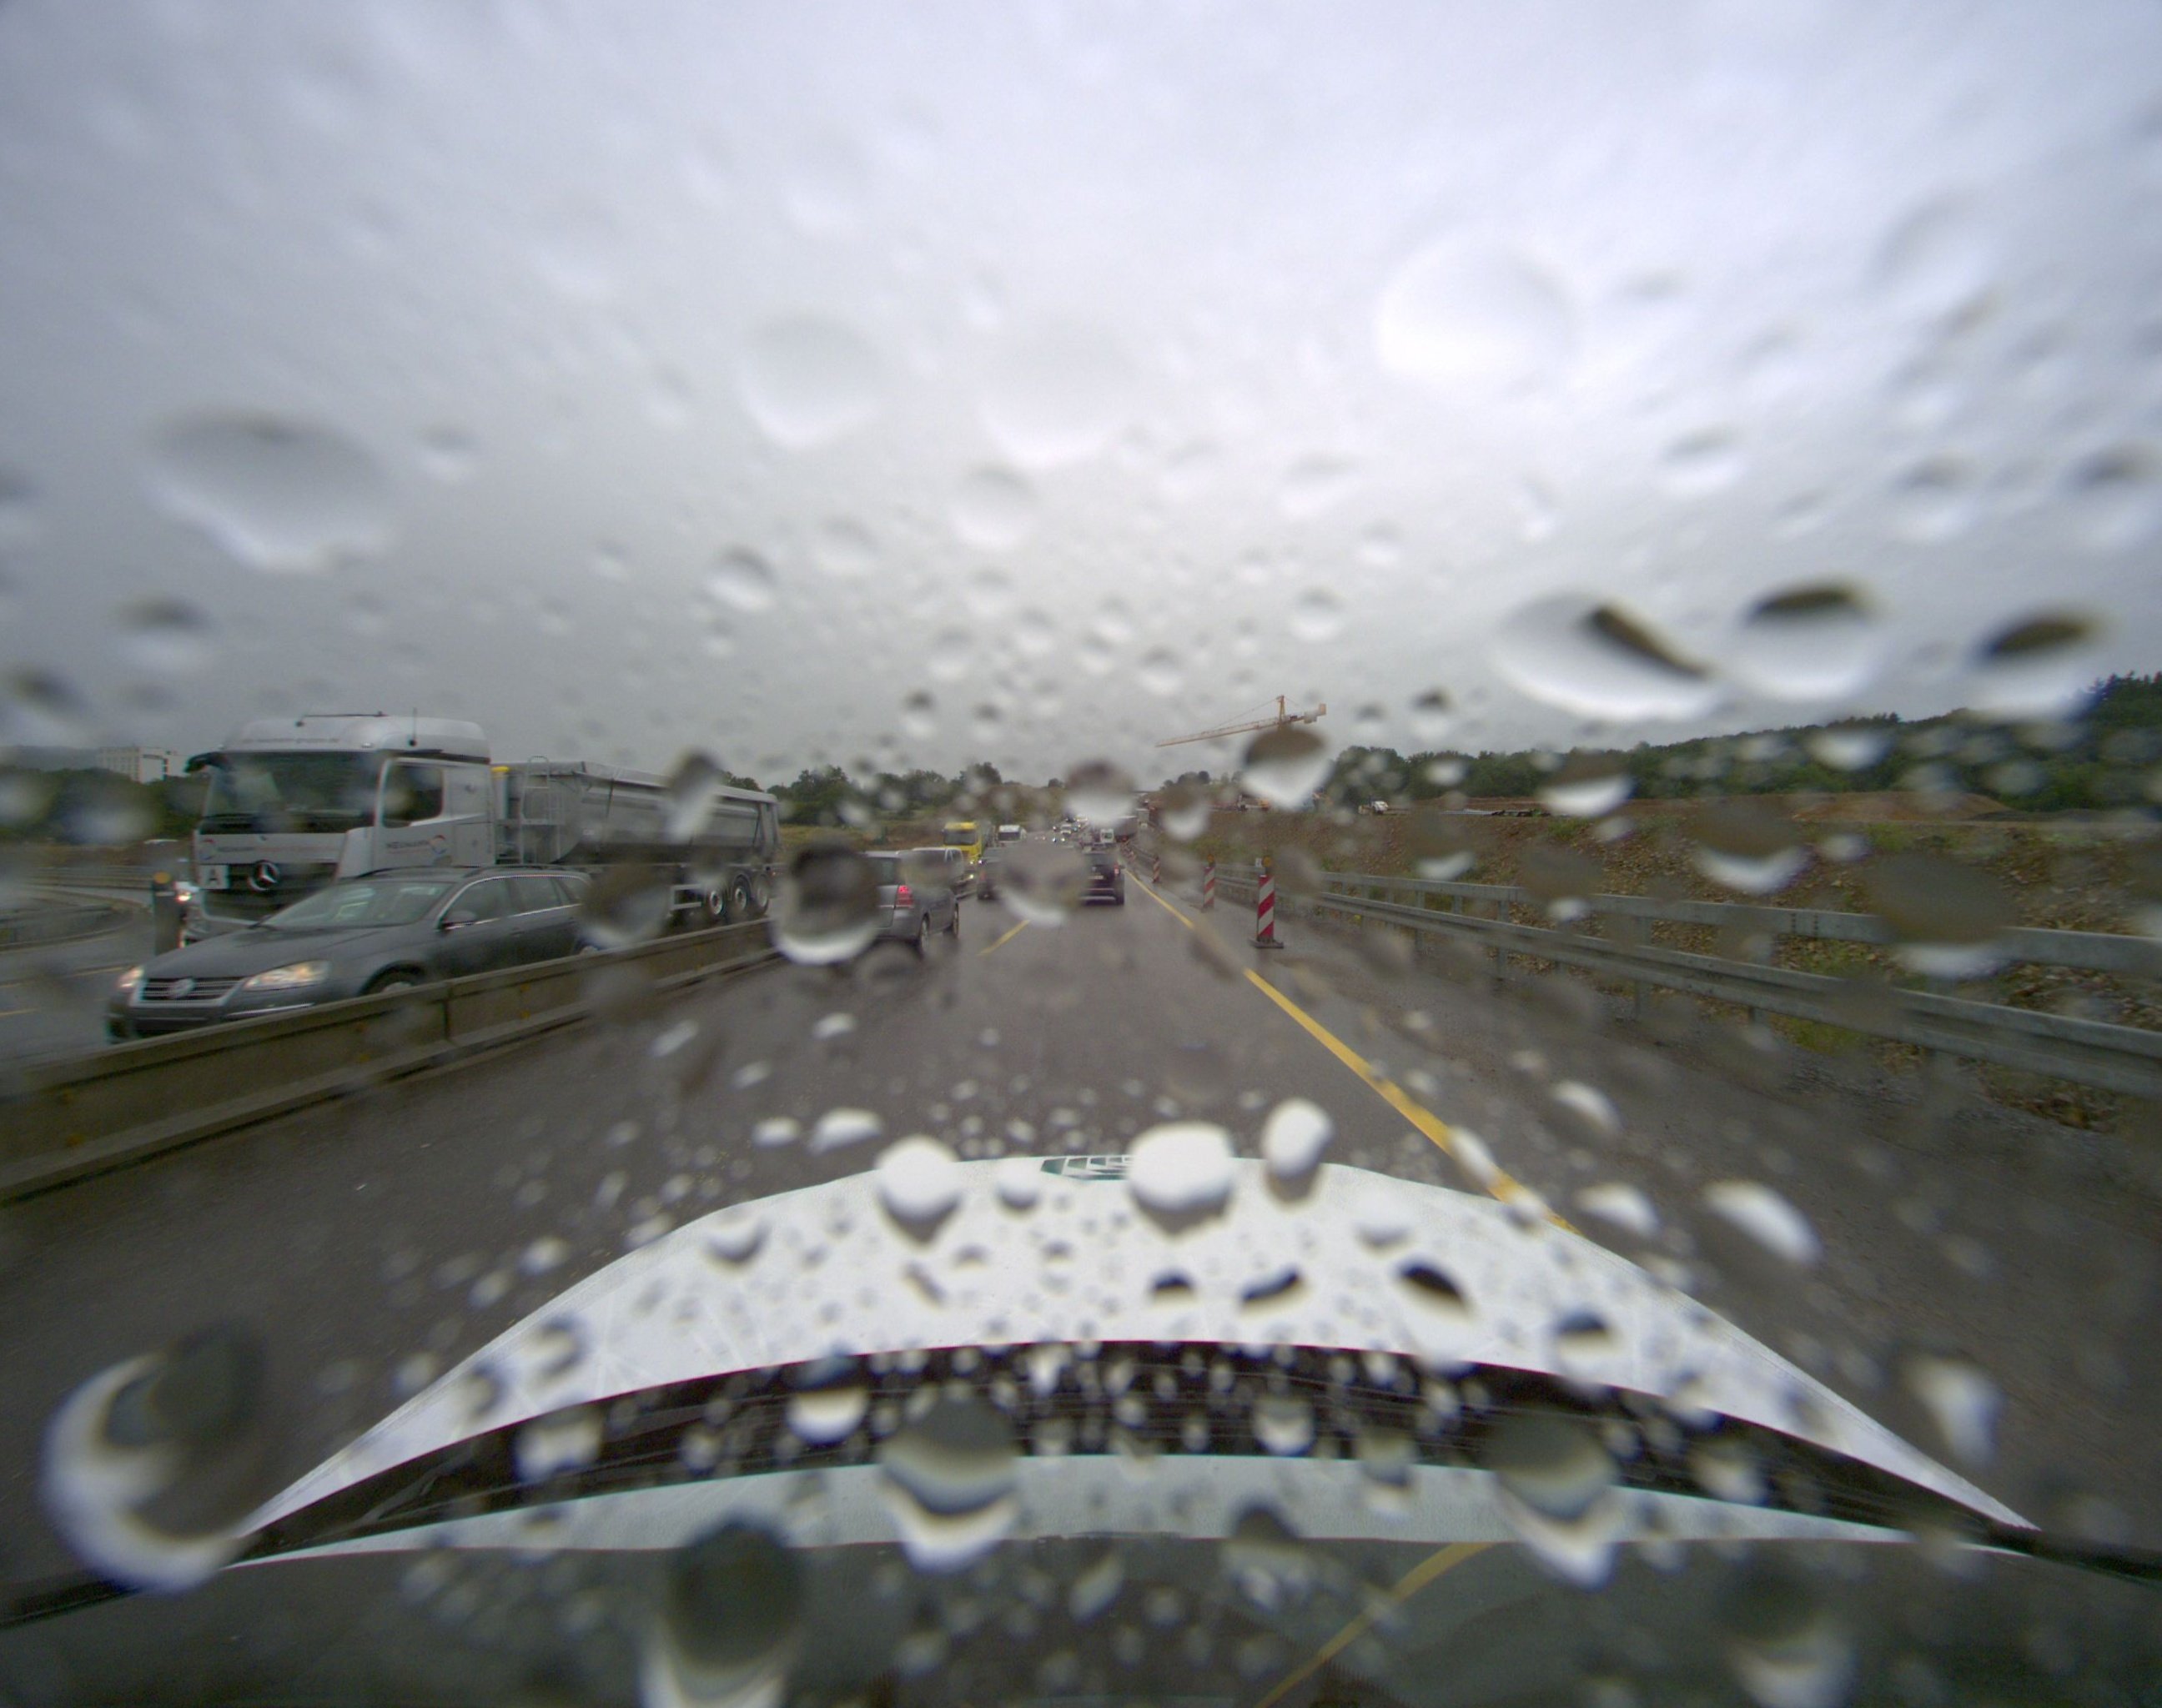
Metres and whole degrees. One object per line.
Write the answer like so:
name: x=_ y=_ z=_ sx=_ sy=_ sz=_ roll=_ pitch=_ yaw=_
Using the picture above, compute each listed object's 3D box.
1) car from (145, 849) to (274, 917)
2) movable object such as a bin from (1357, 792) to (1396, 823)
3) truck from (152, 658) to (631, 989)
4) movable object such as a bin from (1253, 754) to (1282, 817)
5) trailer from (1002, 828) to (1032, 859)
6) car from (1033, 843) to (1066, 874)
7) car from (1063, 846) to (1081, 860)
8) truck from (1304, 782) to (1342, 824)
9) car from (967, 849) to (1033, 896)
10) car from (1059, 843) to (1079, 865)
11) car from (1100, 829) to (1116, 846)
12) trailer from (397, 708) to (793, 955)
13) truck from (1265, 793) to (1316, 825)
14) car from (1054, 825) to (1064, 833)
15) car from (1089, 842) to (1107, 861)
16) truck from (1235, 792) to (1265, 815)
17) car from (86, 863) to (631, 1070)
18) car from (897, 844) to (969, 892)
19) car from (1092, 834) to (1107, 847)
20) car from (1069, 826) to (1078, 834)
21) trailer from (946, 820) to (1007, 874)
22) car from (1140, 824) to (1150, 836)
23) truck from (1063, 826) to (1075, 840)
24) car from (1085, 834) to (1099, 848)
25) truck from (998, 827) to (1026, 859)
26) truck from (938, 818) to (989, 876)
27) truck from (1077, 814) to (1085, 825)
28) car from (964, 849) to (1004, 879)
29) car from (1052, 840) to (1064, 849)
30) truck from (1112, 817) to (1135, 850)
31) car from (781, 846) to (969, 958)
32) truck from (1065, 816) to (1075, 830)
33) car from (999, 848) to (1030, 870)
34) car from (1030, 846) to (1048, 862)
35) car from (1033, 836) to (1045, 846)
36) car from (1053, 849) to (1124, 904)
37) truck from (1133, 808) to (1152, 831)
car: x=-28.412 y=0.862 z=26.499 sx=4.980 sy=2.013 sz=2.287 roll=0 pitch=0 yaw=36
movable object such as a bin: x=37.263 y=-5.812 z=102.861 sx=2.334 sy=3.599 sz=6.556 roll=0 pitch=0 yaw=-2
truck: x=-9.806 y=-0.379 z=12.501 sx=2.676 sy=3.927 sz=5.275 roll=-2 pitch=0 yaw=1
movable object such as a bin: x=35.077 y=-12.643 z=152.498 sx=4.683 sy=10.841 sz=10.347 roll=0 pitch=0 yaw=16
trailer: x=-7.945 y=-1.251 z=101.907 sx=2.611 sy=3.677 sz=12.005 roll=0 pitch=0 yaw=1
car: x=-2.098 y=0.297 z=54.527 sx=1.987 sy=2.013 sz=3.894 roll=0 pitch=0 yaw=0
car: x=-1.125 y=-0.100 z=103.991 sx=1.986 sy=1.761 sz=3.817 roll=0 pitch=0 yaw=2
truck: x=25.846 y=-5.395 z=87.380 sx=2.365 sy=4.218 sz=5.980 roll=0 pitch=0 yaw=1
car: x=-2.884 y=0.613 z=29.756 sx=1.987 sy=1.600 sz=4.140 roll=0 pitch=0 yaw=0
car: x=-1.274 y=0.003 z=82.712 sx=1.988 sy=2.162 sz=4.137 roll=0 pitch=0 yaw=-2
car: x=3.956 y=-2.415 z=119.502 sx=1.984 sy=2.484 sz=4.989 roll=0 pitch=0 yaw=5
trailer: x=-9.669 y=-0.389 z=18.204 sx=2.676 sy=3.963 sz=9.822 roll=-2 pitch=0 yaw=1
truck: x=21.507 y=-4.547 z=84.070 sx=3.381 sy=2.875 sz=8.966 roll=0 pitch=0 yaw=3
car: x=-4.805 y=-5.496 z=178.827 sx=1.780 sy=1.538 sz=4.313 roll=-1 pitch=1 yaw=1
car: x=2.047 y=-0.263 z=95.510 sx=1.986 sy=2.162 sz=4.143 roll=0 pitch=0 yaw=2
truck: x=21.841 y=-6.457 z=105.554 sx=2.636 sy=2.554 sz=6.985 roll=0 pitch=0 yaw=1
car: x=-6.426 y=0.851 z=7.991 sx=1.703 sy=1.453 sz=4.001 roll=0 pitch=0 yaw=1
car: x=-5.978 y=0.529 z=33.620 sx=1.868 sy=1.792 sz=5.361 roll=-1 pitch=0 yaw=1
car: x=3.197 y=-2.275 z=139.337 sx=1.981 sy=2.162 sz=4.152 roll=0 pitch=0 yaw=10
car: x=-1.649 y=-5.149 z=175.338 sx=1.780 sy=1.538 sz=4.313 roll=-1 pitch=1 yaw=1
trailer: x=-8.484 y=-0.538 z=68.535 sx=2.739 sy=4.042 sz=15.364 roll=0 pitch=0 yaw=1
car: x=13.554 y=-5.110 z=172.396 sx=1.986 sy=2.484 sz=4.744 roll=0 pitch=0 yaw=2
truck: x=-2.333 y=-3.952 z=156.140 sx=2.071 sy=2.576 sz=5.963 roll=0 pitch=0 yaw=1
car: x=1.753 y=-2.002 z=128.256 sx=1.985 sy=2.162 sz=4.144 roll=0 pitch=0 yaw=3
truck: x=-8.042 y=-1.249 z=96.089 sx=2.611 sy=3.677 sz=6.596 roll=0 pitch=0 yaw=1
truck: x=-8.698 y=-0.513 z=60.922 sx=2.739 sy=4.062 sz=6.150 roll=0 pitch=0 yaw=1
truck: x=0.053 y=-8.822 z=210.465 sx=2.140 sy=2.713 sz=6.017 roll=0 pitch=2 yaw=1
car: x=-6.094 y=0.593 z=51.845 sx=1.781 sy=1.805 sz=5.191 roll=-2 pitch=0 yaw=1
car: x=-3.774 y=-1.601 z=134.562 sx=1.766 sy=1.504 sz=4.680 roll=-1 pitch=1 yaw=1
truck: x=7.373 y=-3.420 z=140.105 sx=3.083 sy=5.425 sz=9.467 roll=0 pitch=0 yaw=9
car: x=-3.265 y=0.679 z=13.817 sx=1.986 sy=1.600 sz=4.142 roll=0 pitch=0 yaw=2
truck: x=-3.091 y=-8.748 z=229.138 sx=2.633 sy=3.969 sz=9.215 roll=0 pitch=3 yaw=0
car: x=-5.396 y=0.376 z=66.340 sx=1.986 sy=1.759 sz=4.689 roll=0 pitch=1 yaw=1
car: x=-4.902 y=-0.019 z=95.161 sx=1.859 sy=1.800 sz=4.163 roll=0 pitch=0 yaw=1
car: x=-7.291 y=-2.247 z=140.303 sx=1.781 sy=1.546 sz=4.001 roll=0 pitch=1 yaw=1
car: x=0.295 y=0.640 z=25.941 sx=2.073 sy=1.600 sz=4.142 roll=0 pitch=0 yaw=2
truck: x=15.068 y=-8.324 z=199.172 sx=3.791 sy=5.042 sz=12.923 roll=0 pitch=0 yaw=1
